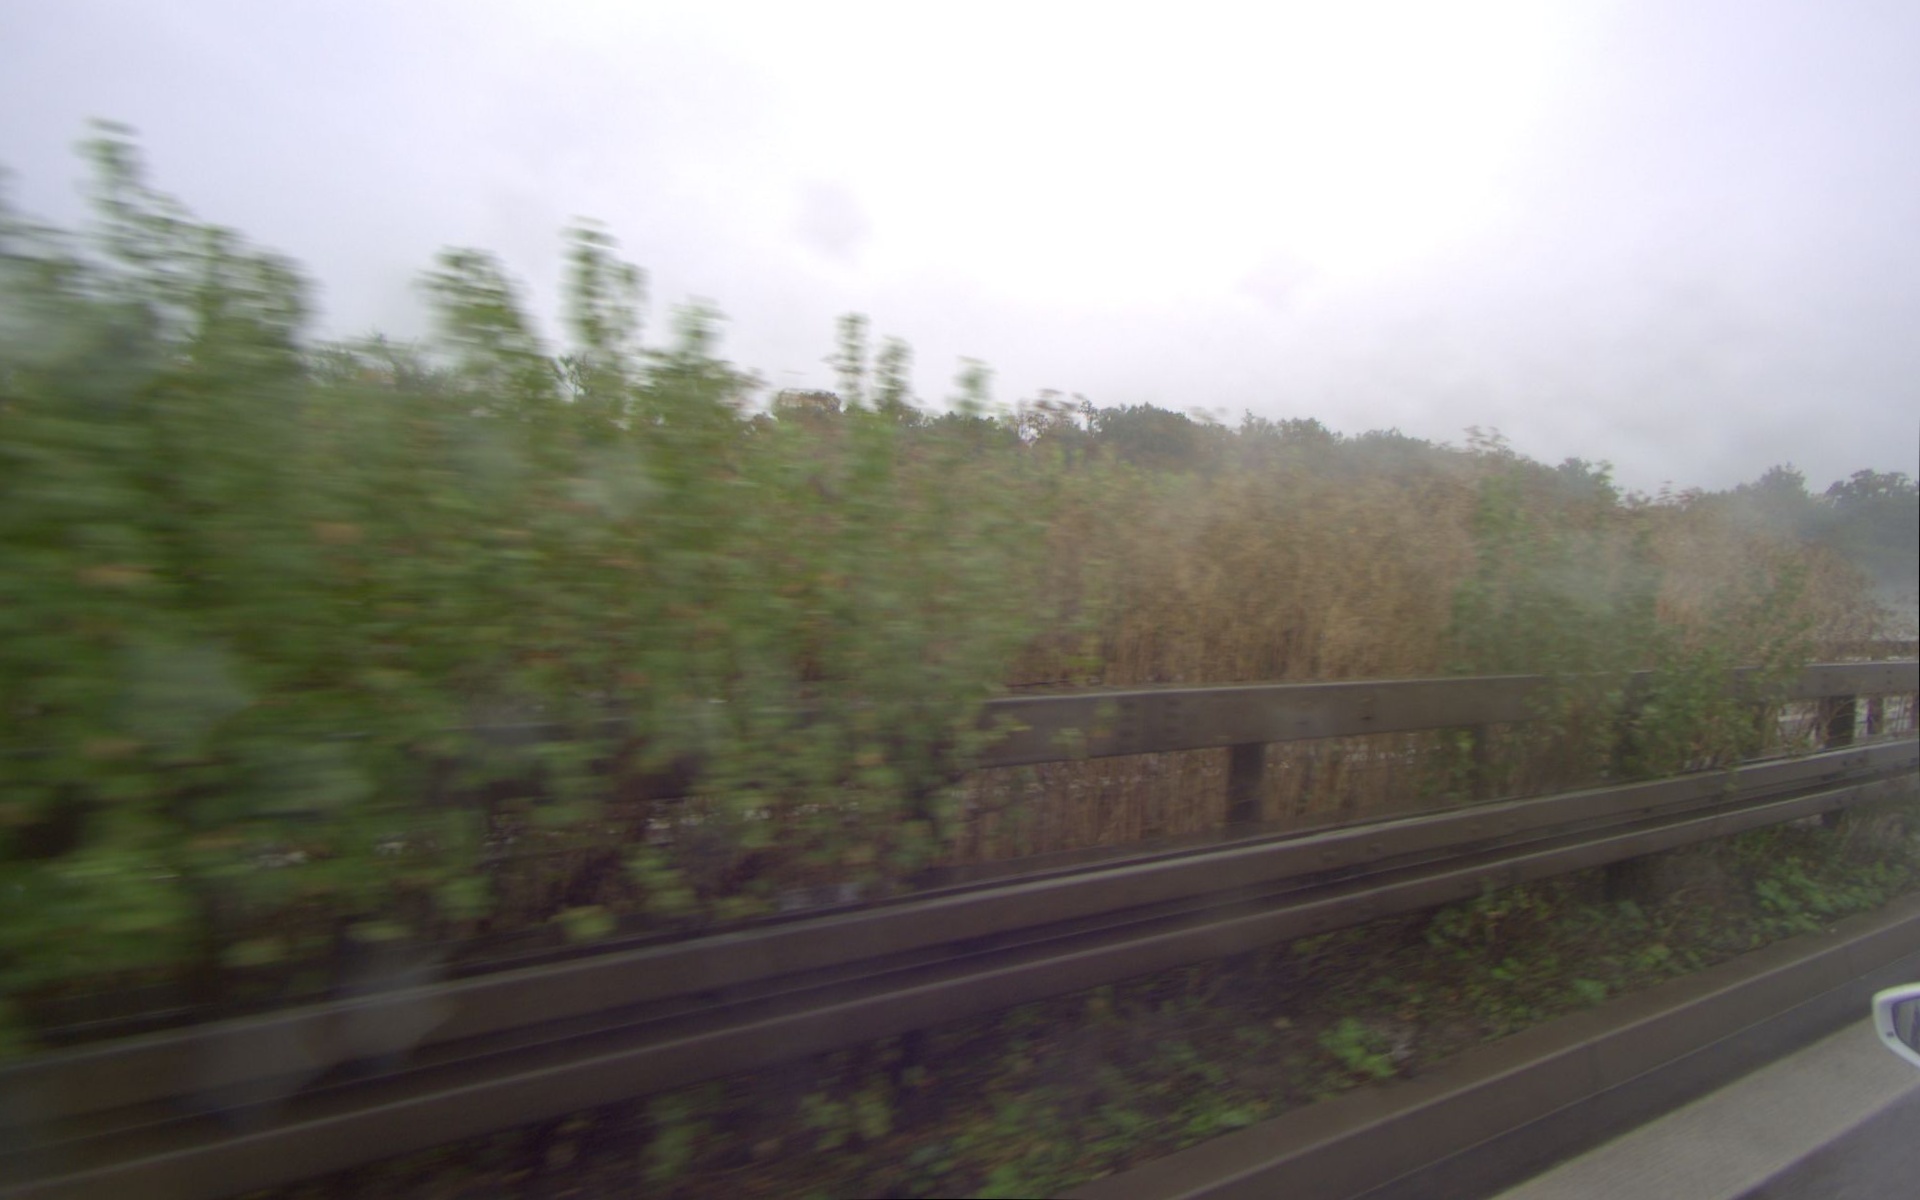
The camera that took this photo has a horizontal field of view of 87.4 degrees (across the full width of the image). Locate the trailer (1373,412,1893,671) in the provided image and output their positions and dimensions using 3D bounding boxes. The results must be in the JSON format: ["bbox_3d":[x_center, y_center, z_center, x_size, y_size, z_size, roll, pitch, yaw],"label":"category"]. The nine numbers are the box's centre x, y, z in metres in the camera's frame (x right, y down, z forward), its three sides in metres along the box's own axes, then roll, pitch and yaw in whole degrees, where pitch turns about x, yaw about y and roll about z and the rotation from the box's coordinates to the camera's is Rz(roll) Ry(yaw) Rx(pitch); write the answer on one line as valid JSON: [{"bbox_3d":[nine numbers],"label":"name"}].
[{"bbox_3d":[15.353,-0.888,22.098,14.505,4.358,3.514,1,0,-30],"label":"trailer"}]
